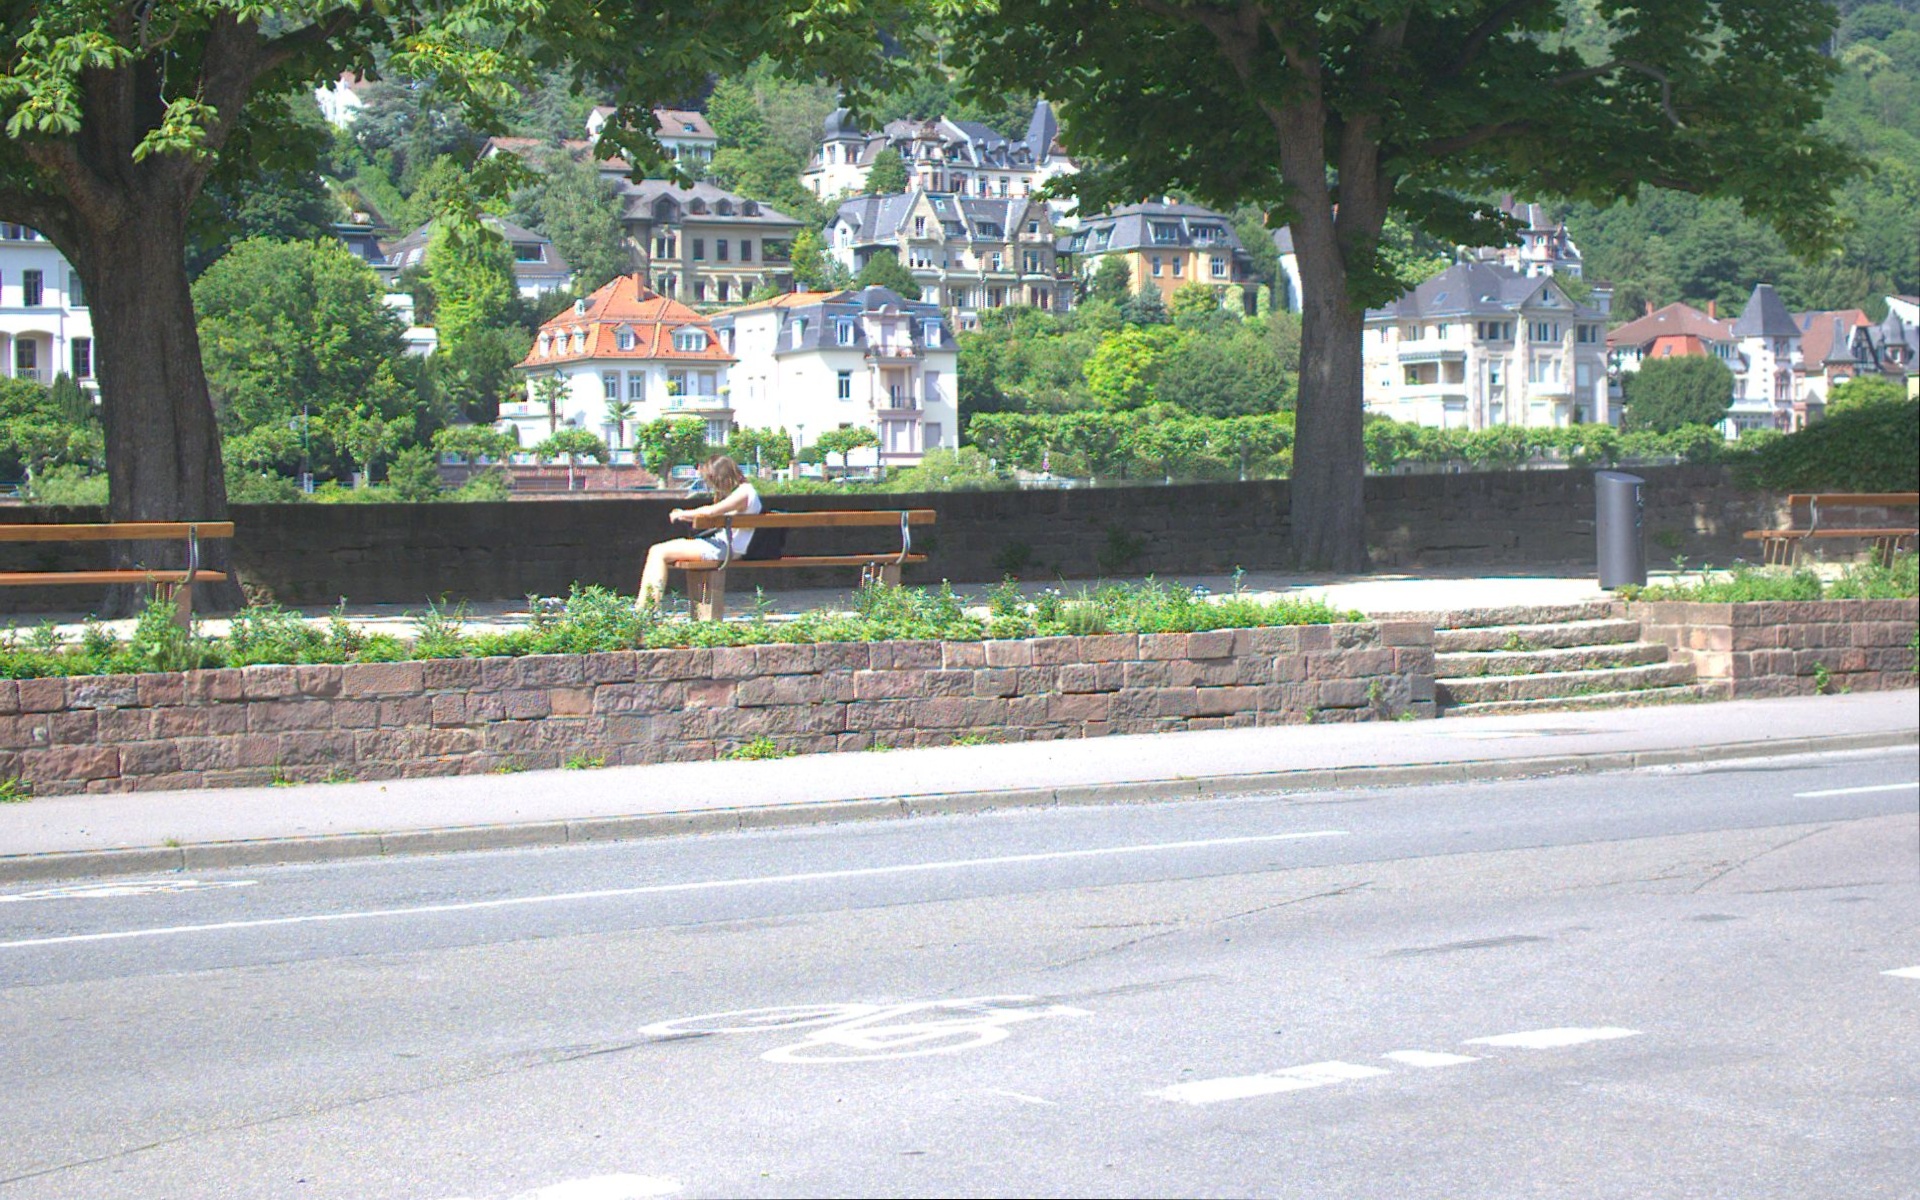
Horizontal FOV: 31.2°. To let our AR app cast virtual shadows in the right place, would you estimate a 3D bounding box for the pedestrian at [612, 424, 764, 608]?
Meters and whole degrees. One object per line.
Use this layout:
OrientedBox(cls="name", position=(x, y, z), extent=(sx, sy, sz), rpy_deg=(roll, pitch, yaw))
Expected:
OrientedBox(cls="pedestrian", position=(-1.886, -0.569, 23.789), extent=(0.797, 1.207, 0.715), rpy_deg=(1, -3, -30))
